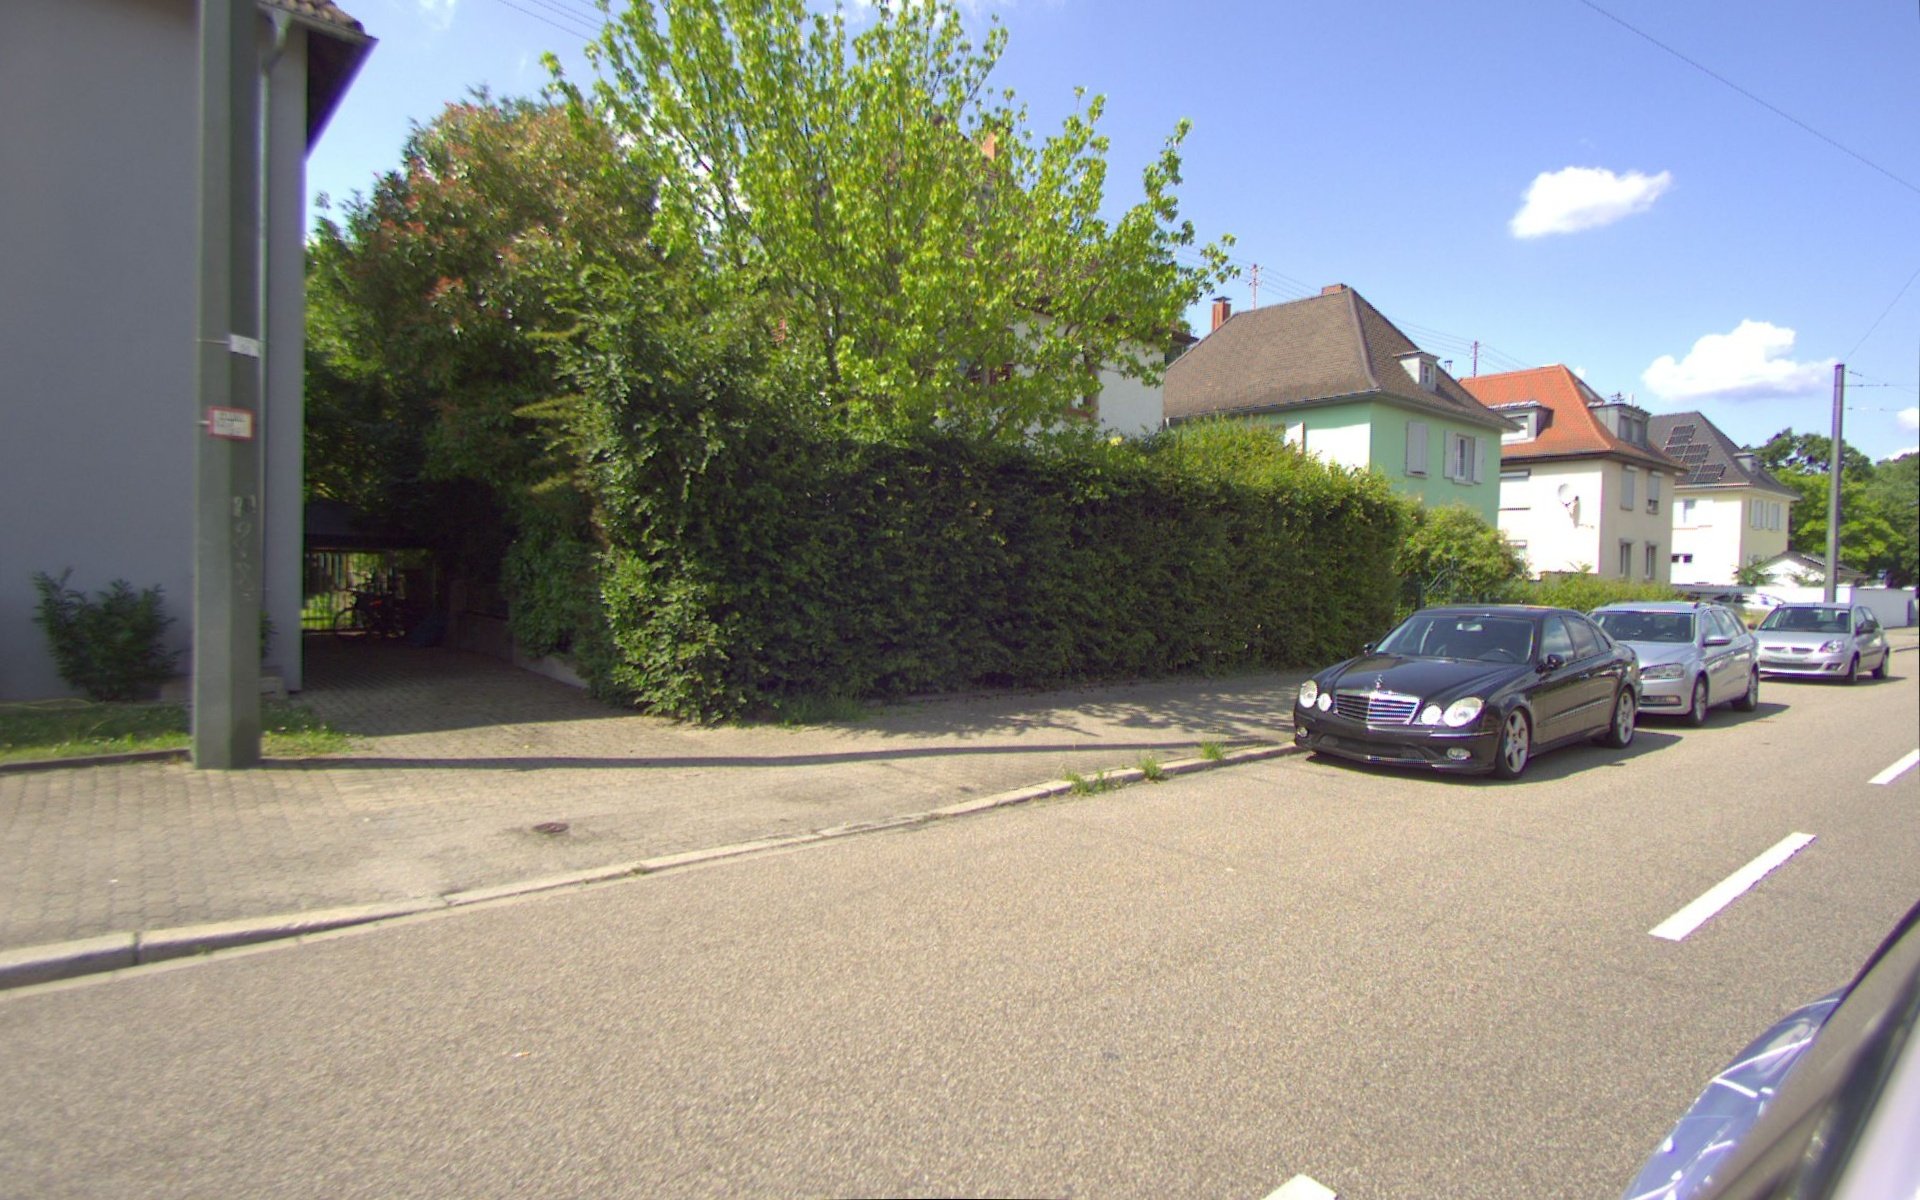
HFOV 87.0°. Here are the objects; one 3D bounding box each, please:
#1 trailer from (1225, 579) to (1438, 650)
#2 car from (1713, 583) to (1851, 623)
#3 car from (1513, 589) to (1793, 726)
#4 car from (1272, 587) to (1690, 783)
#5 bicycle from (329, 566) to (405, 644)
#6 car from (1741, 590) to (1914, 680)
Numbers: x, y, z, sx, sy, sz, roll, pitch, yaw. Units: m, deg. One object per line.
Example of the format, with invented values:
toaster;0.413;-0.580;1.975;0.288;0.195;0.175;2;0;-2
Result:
trailer;8.240;0.254;22.784;1.643;1.343;4.259;0;2;-38
car;36.553;0.090;45.132;1.731;1.479;4.463;0;3;-37
car;9.314;0.606;13.426;4.919;1.473;1.893;-1;1;-41
car;5.286;0.632;9.916;4.968;1.462;1.903;0;0;-40
bicycle;-10.807;0.055;18.408;0.823;1.303;2.125;0;2;-41
car;16.473;0.581;19.154;4.020;1.508;1.741;-1;1;-38
